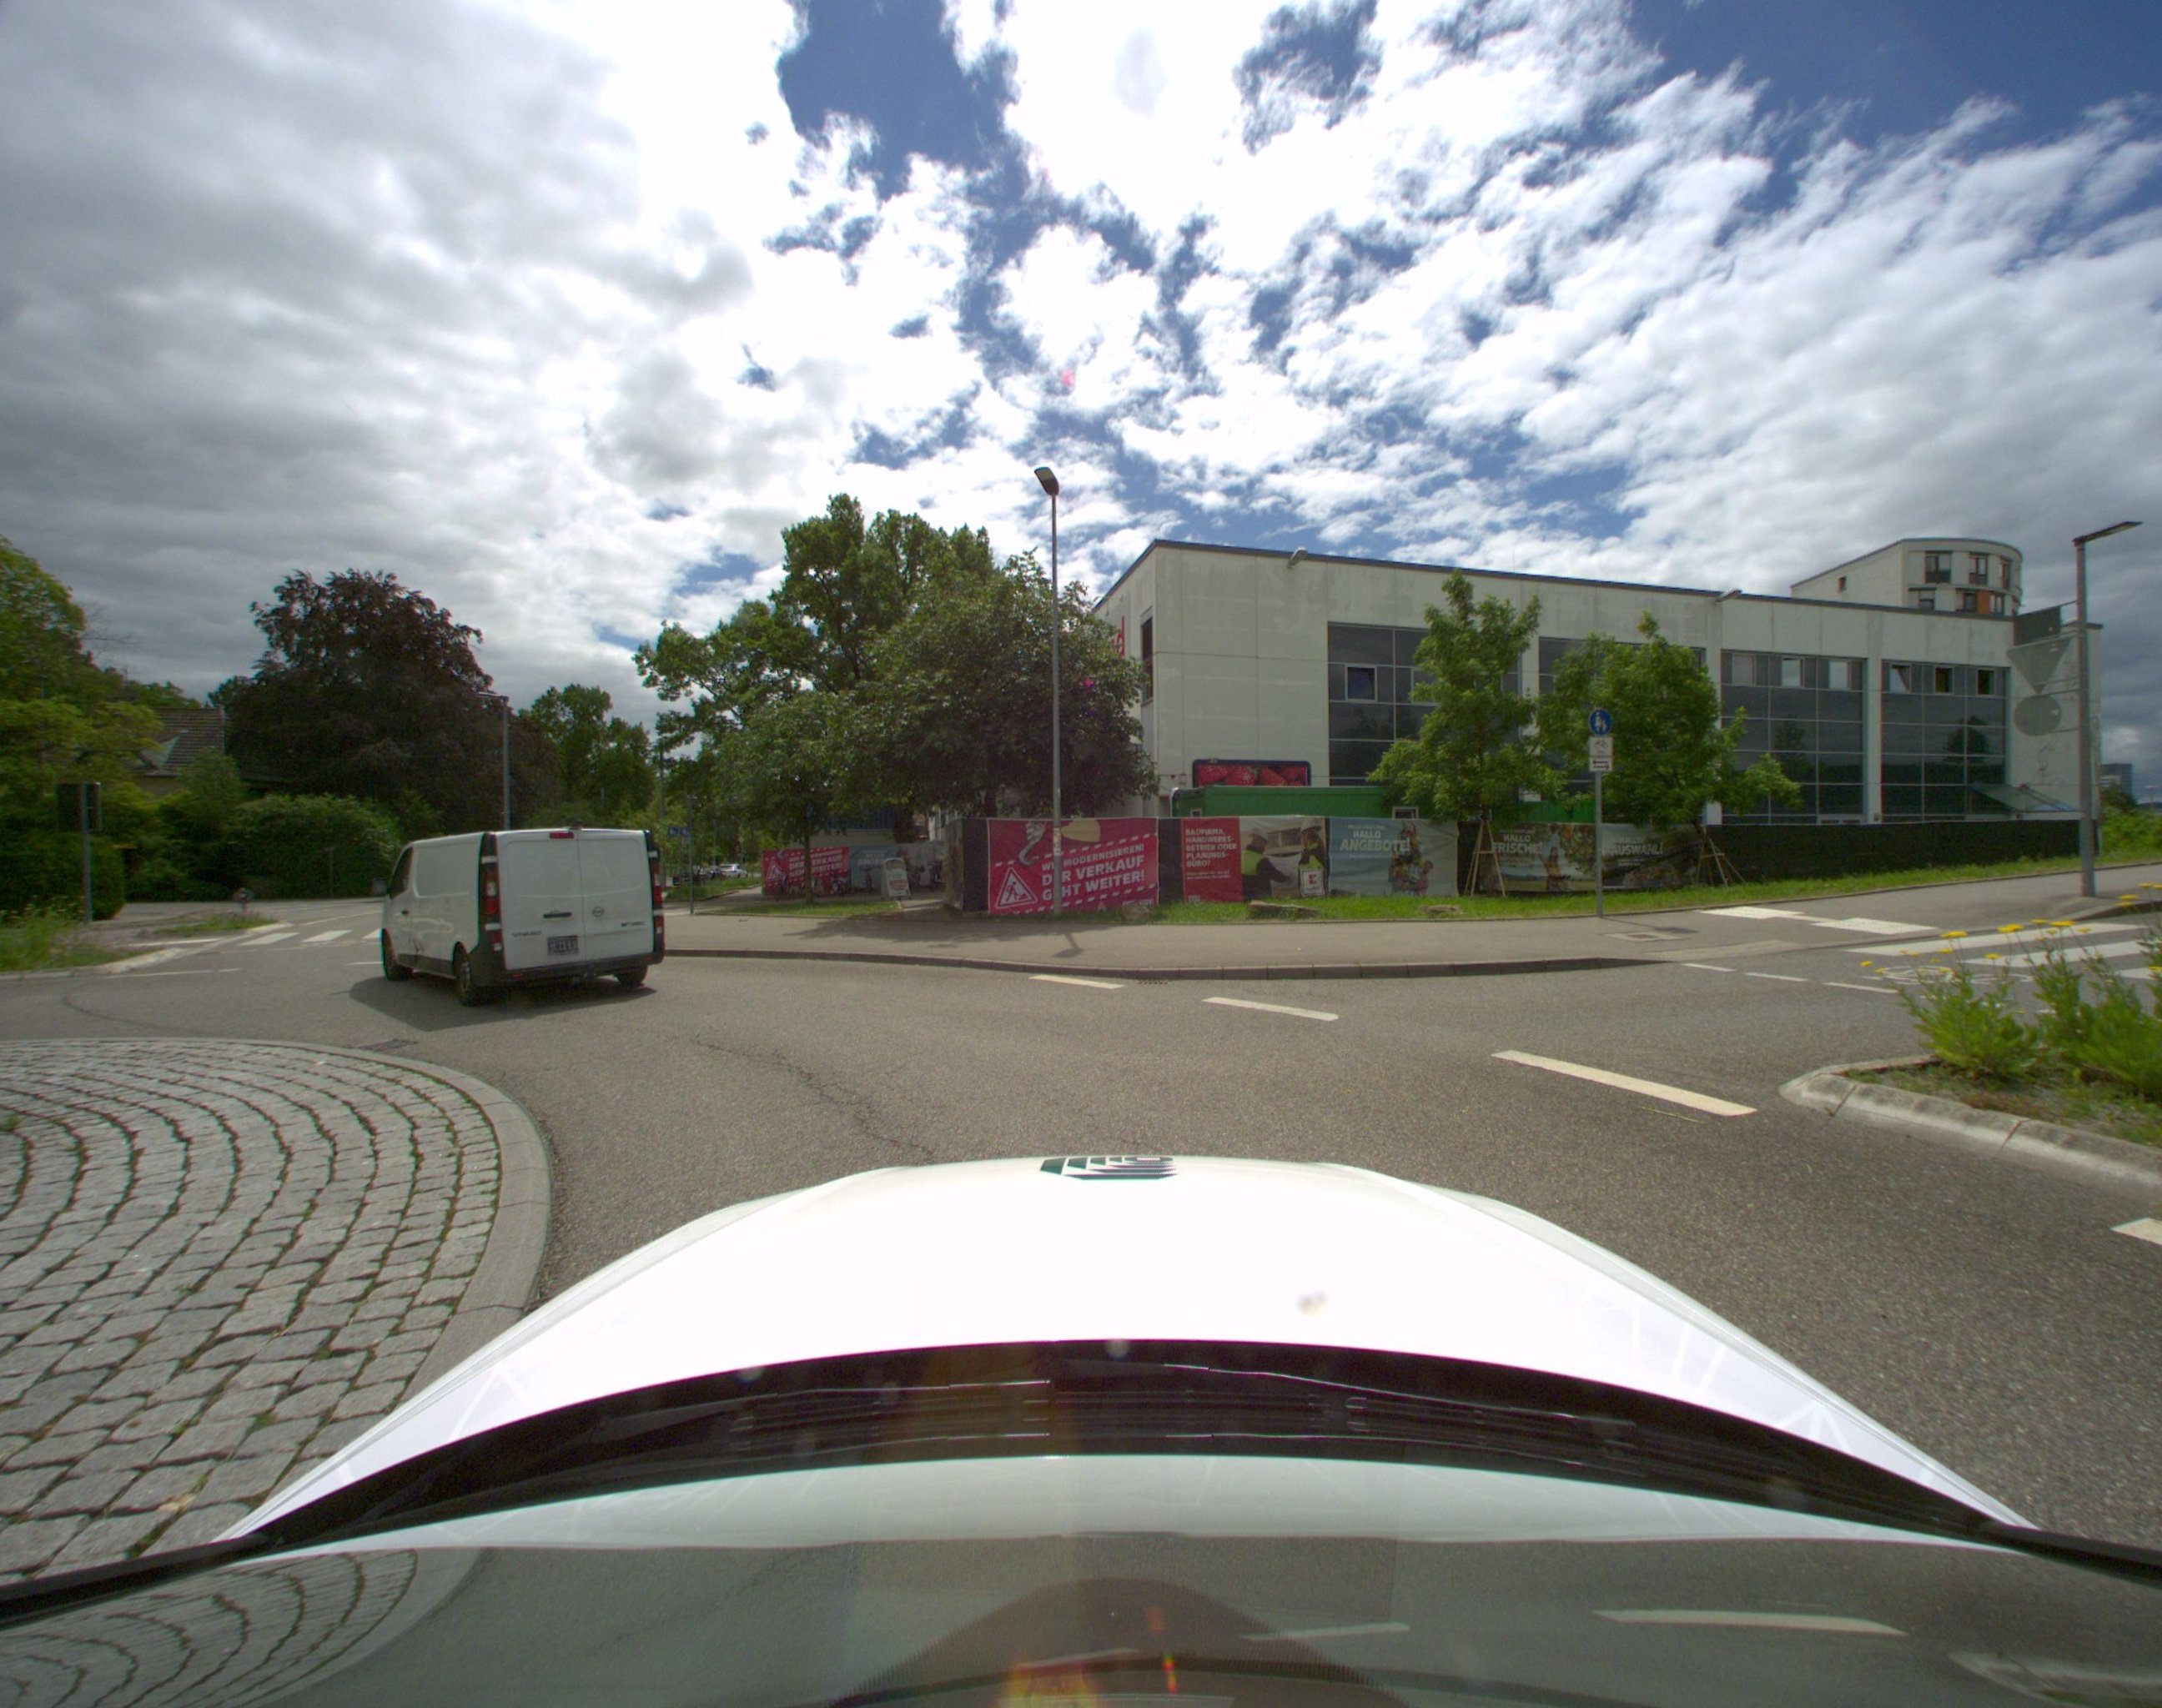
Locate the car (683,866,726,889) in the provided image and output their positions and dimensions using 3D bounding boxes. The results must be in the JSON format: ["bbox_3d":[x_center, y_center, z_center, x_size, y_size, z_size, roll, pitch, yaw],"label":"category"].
[{"bbox_3d":[-28.128,1.742,60.914,2.064,1.476,3.909,-1,1,-12],"label":"car"}]

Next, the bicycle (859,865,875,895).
[{"bbox_3d":[-8.619,1.036,32.802,0.529,1.094,2.063,1,0,-12],"label":"bicycle"}]

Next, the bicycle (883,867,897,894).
[{"bbox_3d":[-7.779,1.067,33.182,0.540,1.049,1.960,1,0,-13],"label":"bicycle"}]

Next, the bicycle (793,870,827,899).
[{"bbox_3d":[-10.665,1.173,32.080,0.628,1.049,2.071,1,0,0],"label":"bicycle"}]

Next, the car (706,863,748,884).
[{"bbox_3d":[-28.602,1.525,65.990,2.061,1.500,3.915,-1,1,-7],"label":"car"}]

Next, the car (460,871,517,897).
[{"bbox_3d":[-38.108,1.892,52.463,2.072,1.386,4.017,-1,1,-23],"label":"car"}]

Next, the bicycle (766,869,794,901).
[{"bbox_3d":[-11.767,1.202,31.914,0.629,1.127,1.963,1,0,-9],"label":"bicycle"}]

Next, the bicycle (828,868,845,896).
[{"bbox_3d":[-9.701,1.096,32.334,0.631,1.049,2.060,1,0,-17],"label":"bicycle"}]

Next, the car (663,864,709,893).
[{"bbox_3d":[-26.849,1.655,55.533,1.899,1.744,3.909,-1,1,-12],"label":"car"}]

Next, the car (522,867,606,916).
[{"bbox_3d":[-19.227,1.355,30.451,1.940,1.537,3.896,-1,1,-22],"label":"car"}]

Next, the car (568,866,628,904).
[{"bbox_3d":[-22.285,1.397,37.695,1.928,1.500,3.893,-1,1,-24],"label":"car"}]

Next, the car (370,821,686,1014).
[{"bbox_3d":[-7.340,0.607,10.592,4.929,1.945,2.054,1,0,39],"label":"car"}]

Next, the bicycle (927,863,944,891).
[{"bbox_3d":[-5.898,0.934,33.095,0.629,1.064,1.963,1,0,-9],"label":"bicycle"}]

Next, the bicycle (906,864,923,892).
[{"bbox_3d":[-6.791,0.973,33.235,0.630,1.049,1.961,0,0,-11],"label":"bicycle"}]
